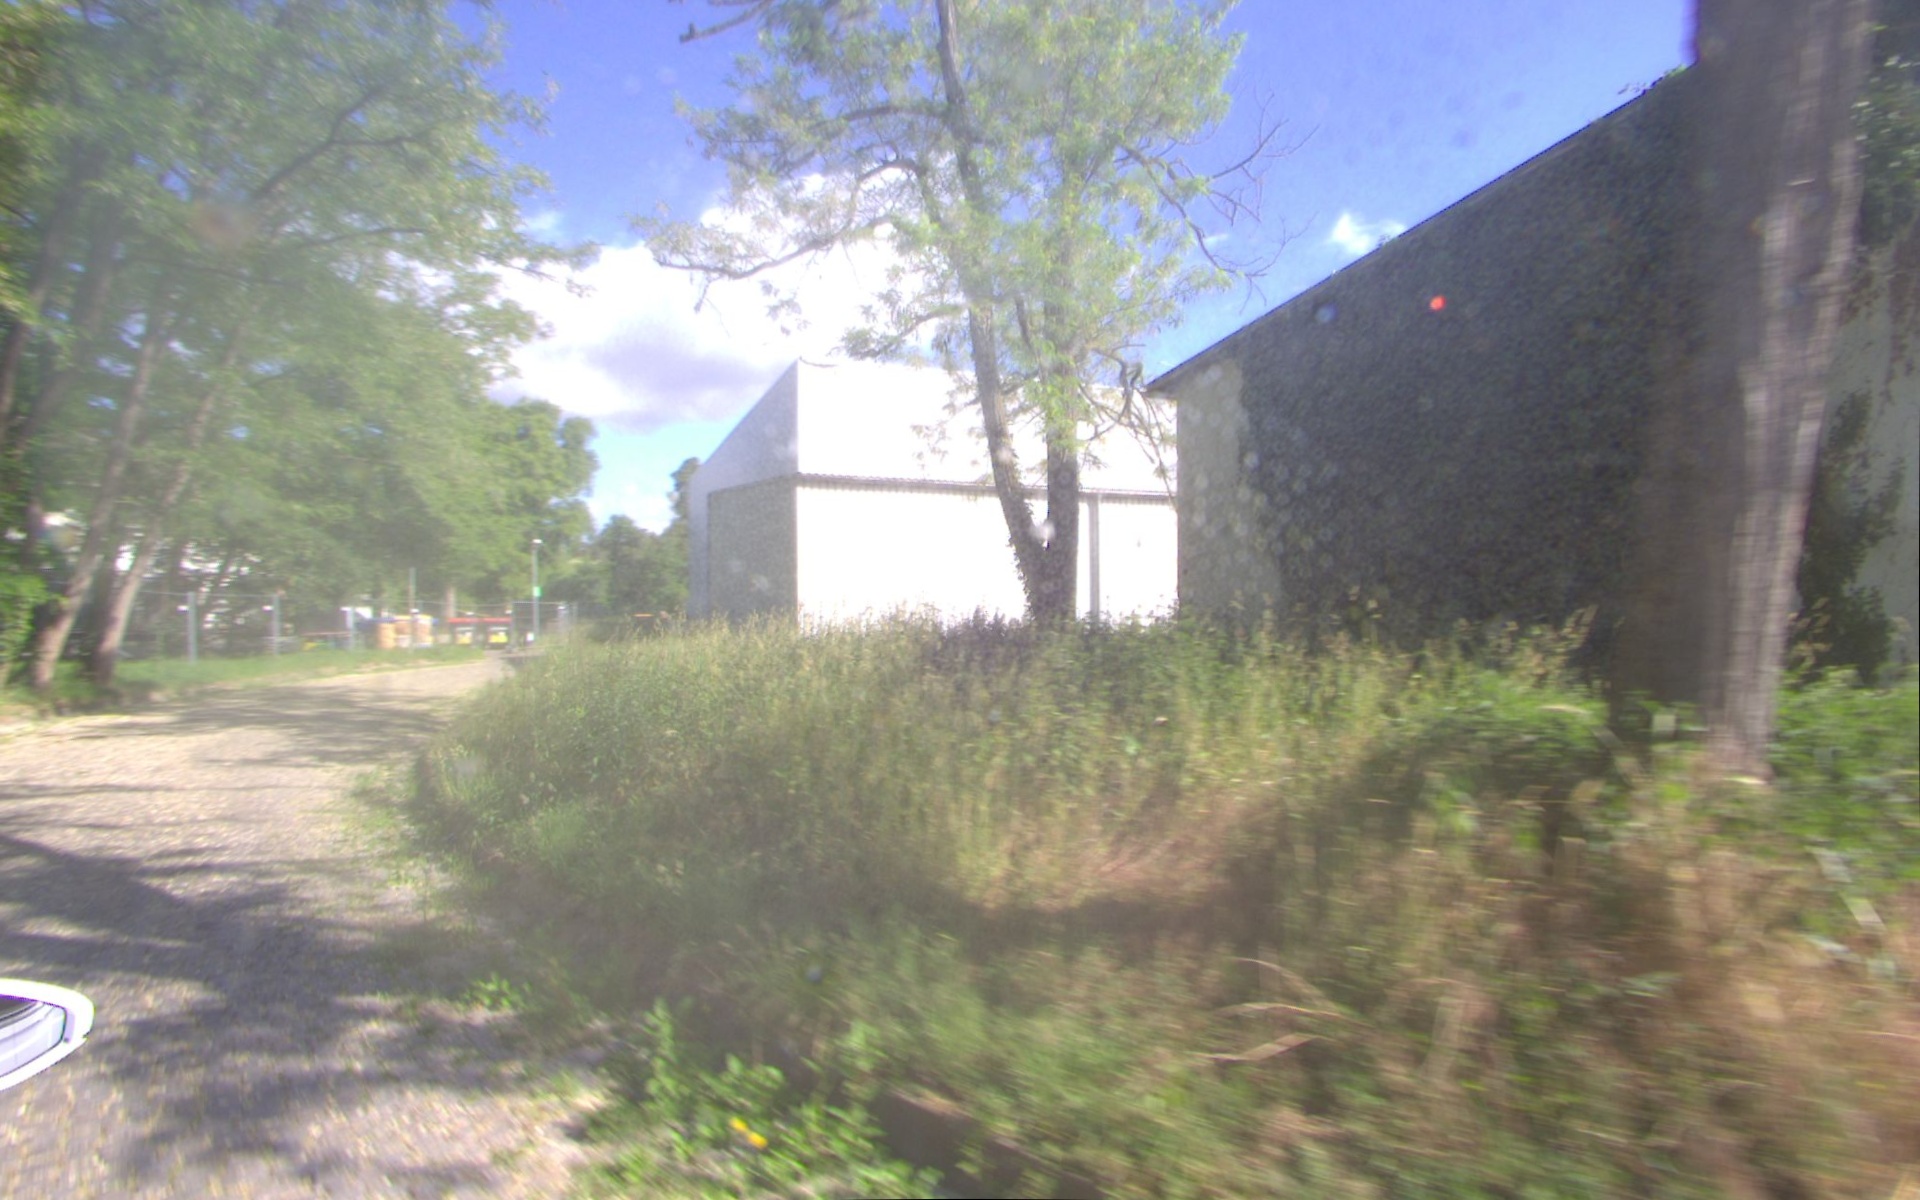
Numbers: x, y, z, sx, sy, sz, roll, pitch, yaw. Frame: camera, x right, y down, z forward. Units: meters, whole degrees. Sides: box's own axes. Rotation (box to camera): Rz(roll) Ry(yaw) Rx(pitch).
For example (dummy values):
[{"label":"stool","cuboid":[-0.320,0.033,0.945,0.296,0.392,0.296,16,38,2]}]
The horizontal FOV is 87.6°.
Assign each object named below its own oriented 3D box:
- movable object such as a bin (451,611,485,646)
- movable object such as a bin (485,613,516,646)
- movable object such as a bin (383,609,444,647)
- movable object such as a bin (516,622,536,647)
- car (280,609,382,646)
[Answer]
[{"label":"movable object such as a bin","cuboid":[-21.677,1.259,44.096,1.322,1.503,0.803,0,0,-28]},{"label":"movable object such as a bin","cuboid":[-20.407,1.294,44.511,1.230,1.463,0.699,0,0,-28]},{"label":"movable object such as a bin","cuboid":[-23.461,1.183,43.051,2.261,1.612,1.169,0,0,-28]},{"label":"movable object such as a bin","cuboid":[-19.453,1.526,44.897,0.726,1.112,0.817,0,0,-18]},{"label":"car","cuboid":[-35.513,1.539,56.659,4.651,1.927,1.992,-1,-1,-26]}]
